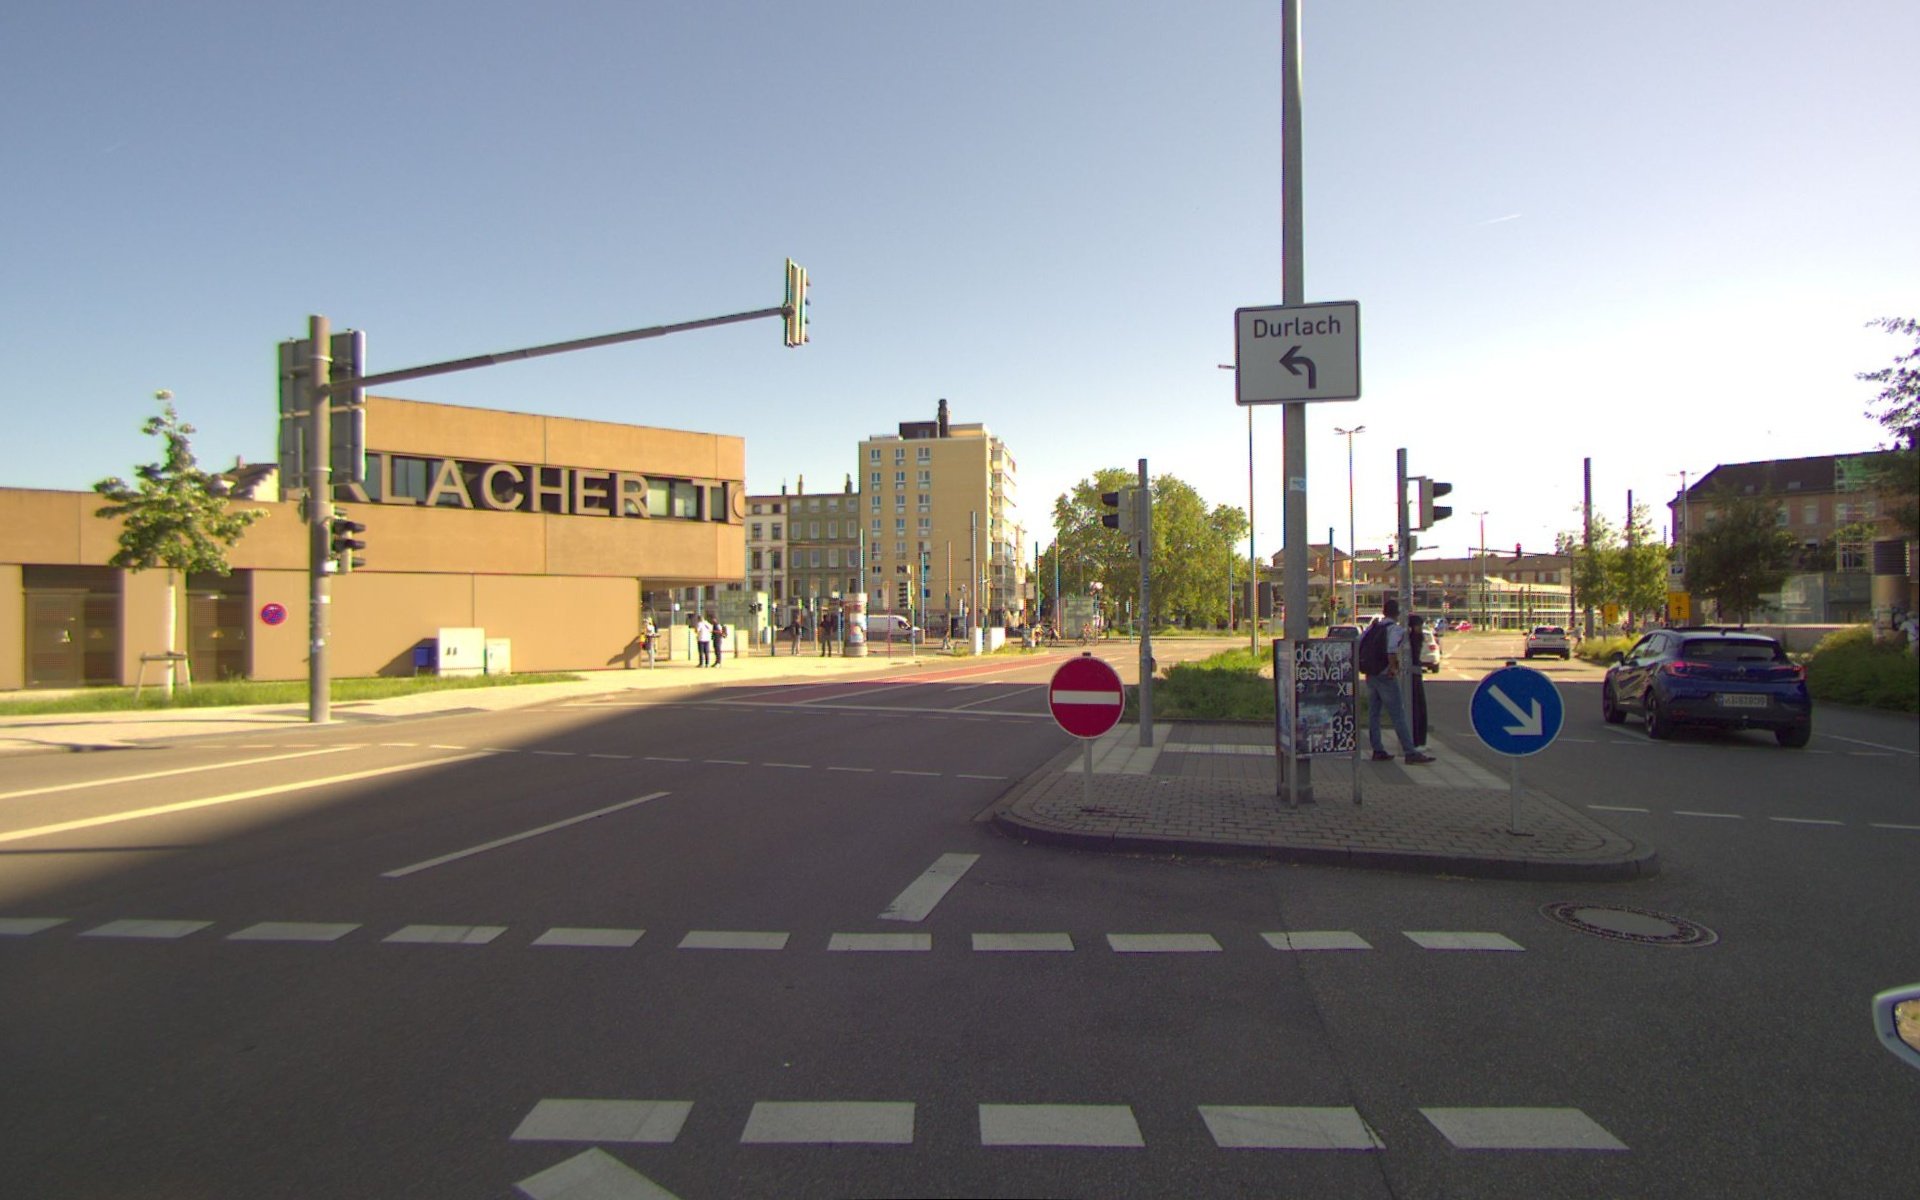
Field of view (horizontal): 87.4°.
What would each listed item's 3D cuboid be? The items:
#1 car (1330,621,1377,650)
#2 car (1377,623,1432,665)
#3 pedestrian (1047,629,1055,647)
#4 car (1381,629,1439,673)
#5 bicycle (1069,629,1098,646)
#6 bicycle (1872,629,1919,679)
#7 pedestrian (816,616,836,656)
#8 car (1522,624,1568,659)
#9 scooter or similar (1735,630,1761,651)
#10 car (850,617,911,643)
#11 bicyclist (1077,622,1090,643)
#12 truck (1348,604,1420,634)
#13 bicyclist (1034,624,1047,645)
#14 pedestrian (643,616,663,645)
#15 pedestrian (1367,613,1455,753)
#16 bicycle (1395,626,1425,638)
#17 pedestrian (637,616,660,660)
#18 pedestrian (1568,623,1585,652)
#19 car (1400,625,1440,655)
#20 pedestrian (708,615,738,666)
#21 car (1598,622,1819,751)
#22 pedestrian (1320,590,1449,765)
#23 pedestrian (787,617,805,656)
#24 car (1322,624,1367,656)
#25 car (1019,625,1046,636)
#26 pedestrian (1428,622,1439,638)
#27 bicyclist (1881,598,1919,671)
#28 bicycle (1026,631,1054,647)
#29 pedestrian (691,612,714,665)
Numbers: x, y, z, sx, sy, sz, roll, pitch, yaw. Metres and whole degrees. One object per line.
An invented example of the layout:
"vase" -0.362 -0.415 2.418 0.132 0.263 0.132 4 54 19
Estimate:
"car" 21.330 1.916 54.348 1.700 1.461 3.902 2 0 31
"car" 18.456 1.797 41.834 1.952 1.645 4.376 -1 -1 22
"pedestrian" 7.055 2.952 78.028 0.583 1.427 0.569 0 1 11
"car" 15.712 1.747 35.233 1.663 1.455 3.736 -1 -1 21
"bicycle" 8.735 2.657 71.170 1.920 1.180 0.642 0 -1 25
"bicycle" 23.656 1.333 24.969 0.733 1.180 1.870 -1 -1 18
"pedestrian" -6.021 1.629 45.119 0.638 1.765 0.786 2 -1 -23
"car" 29.063 2.056 49.988 1.849 1.639 3.619 1 -1 29
"scooter or similar" 41.359 2.109 52.717 0.459 1.026 1.250 0 1 5
"car" -7.536 2.810 95.337 5.393 2.443 2.001 0 -1 10
"bicyclist" 8.730 2.306 71.187 0.762 1.463 0.643 0 -1 26
"truck" 34.333 1.579 81.273 6.817 2.344 2.199 1 -1 -36
"bicyclist" 5.830 2.497 72.881 0.762 1.463 0.643 0 -1 25
"pedestrian" -16.569 1.649 54.194 0.950 1.556 0.636 -1 -2 44
"pedestrian" 5.480 0.984 12.227 0.709 1.633 0.678 1 -1 -25
"bicycle" 45.931 3.280 102.580 2.602 1.204 0.947 0 1 2
"pedestrian" -12.582 1.545 40.595 0.641 1.745 0.782 3 -3 -35
"pedestrian" 37.651 2.274 61.320 0.863 1.745 0.590 3 -3 -37
"car" 24.266 2.097 52.974 1.699 1.461 3.794 2 0 27
"pedestrian" -8.277 1.421 35.031 0.631 1.745 0.748 0 -3 27
"car" 11.036 1.188 15.122 1.847 1.639 3.796 0 -2 24
"pedestrian" 4.693 0.843 11.137 1.075 1.857 0.755 1 -1 -9
"pedestrian" -7.513 1.672 46.026 0.638 1.745 0.786 2 -3 -23
"car" 18.389 1.873 47.933 1.698 1.461 3.795 -1 -1 26
"car" 8.914 3.717 122.900 3.207 1.334 1.526 0 1 7
"pedestrian" 50.129 3.179 106.417 0.843 1.633 0.697 -1 1 -33
"bicyclist" 23.669 0.844 25.028 0.708 1.786 0.978 -1 -1 19
"bicycle" 5.823 2.817 72.876 1.920 1.180 0.642 0 -1 25
"pedestrian" -8.737 1.306 34.035 0.587 1.745 0.786 2 -3 -23
